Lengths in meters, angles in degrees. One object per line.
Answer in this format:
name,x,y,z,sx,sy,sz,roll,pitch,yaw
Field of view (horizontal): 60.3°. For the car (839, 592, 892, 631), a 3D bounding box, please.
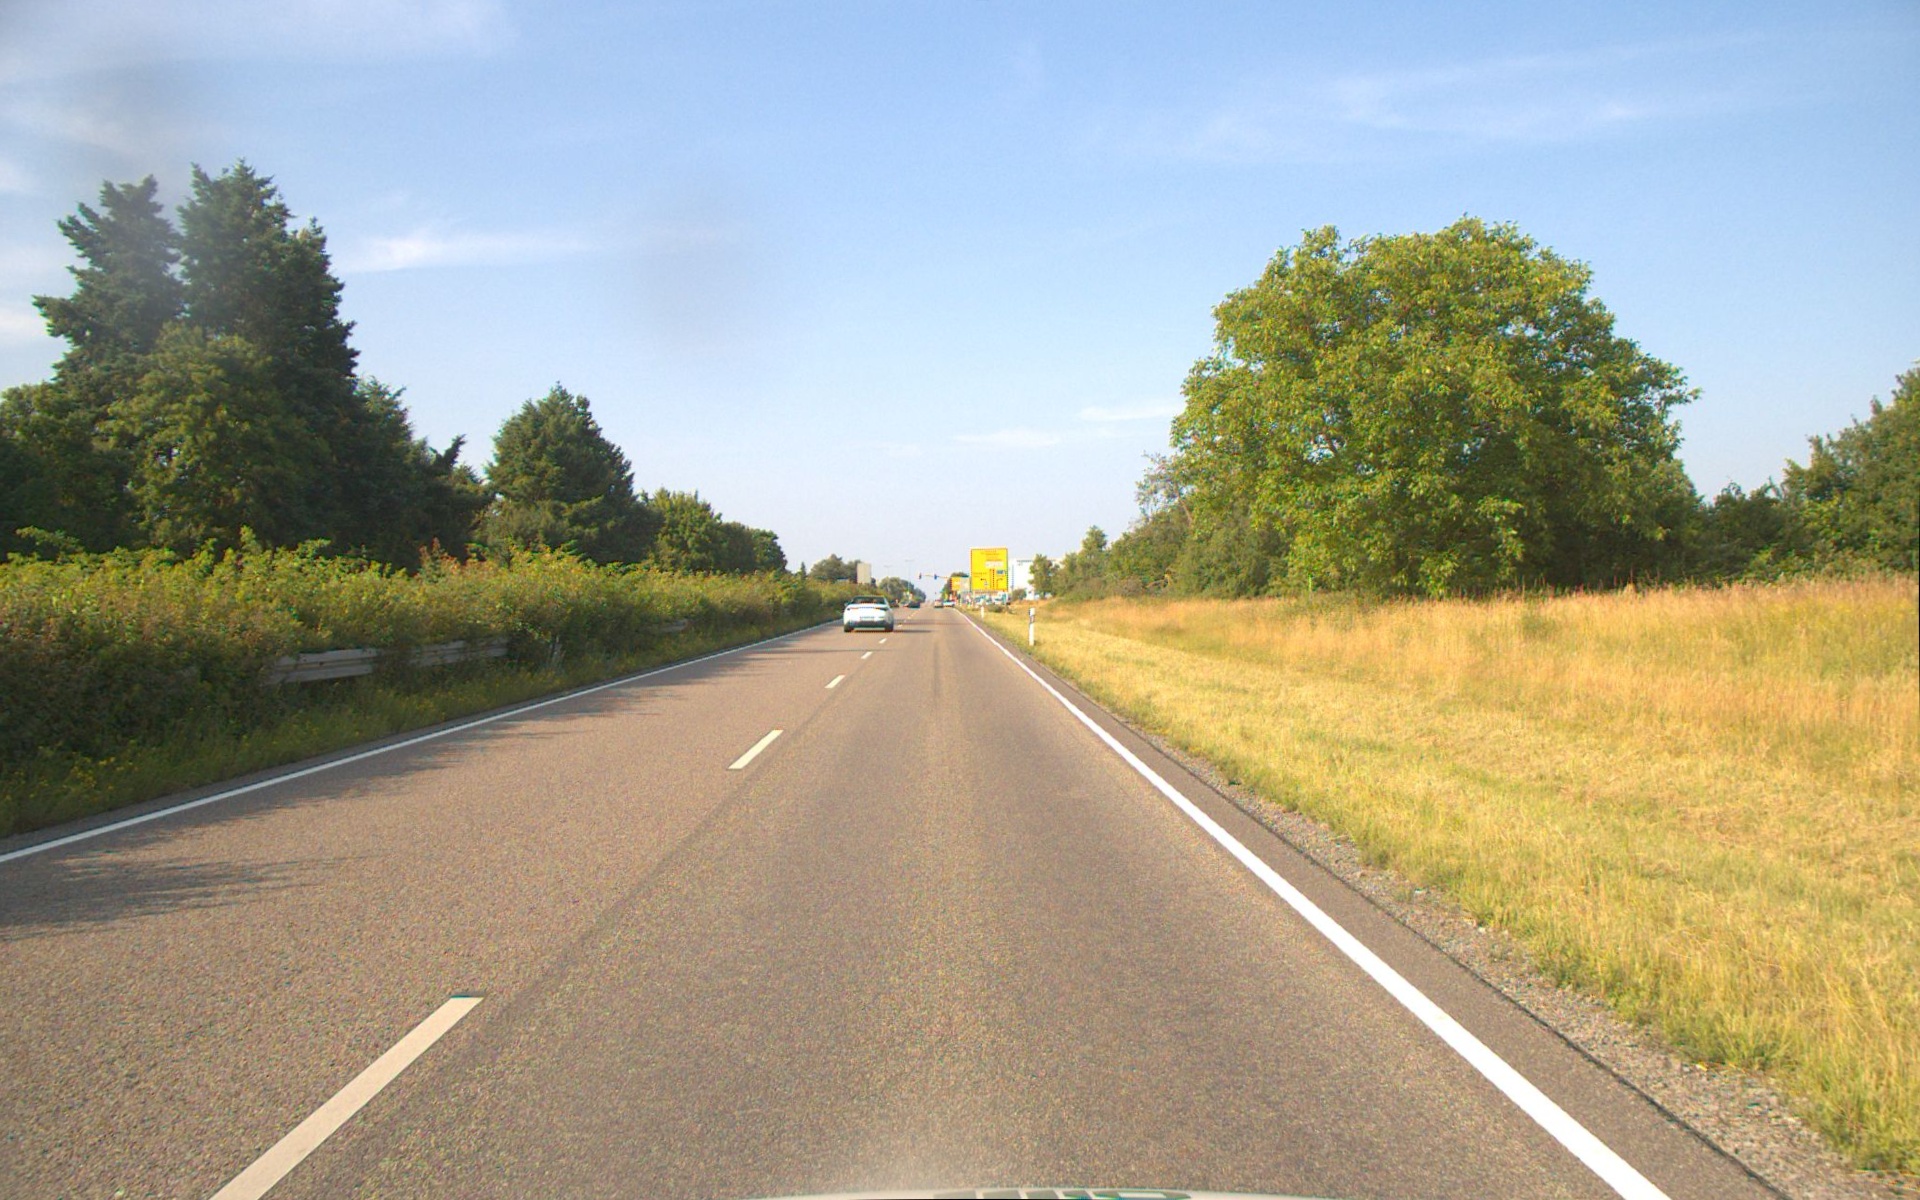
car,-3.611,0.418,63.708,1.871,1.447,3.999,0,0,-2
